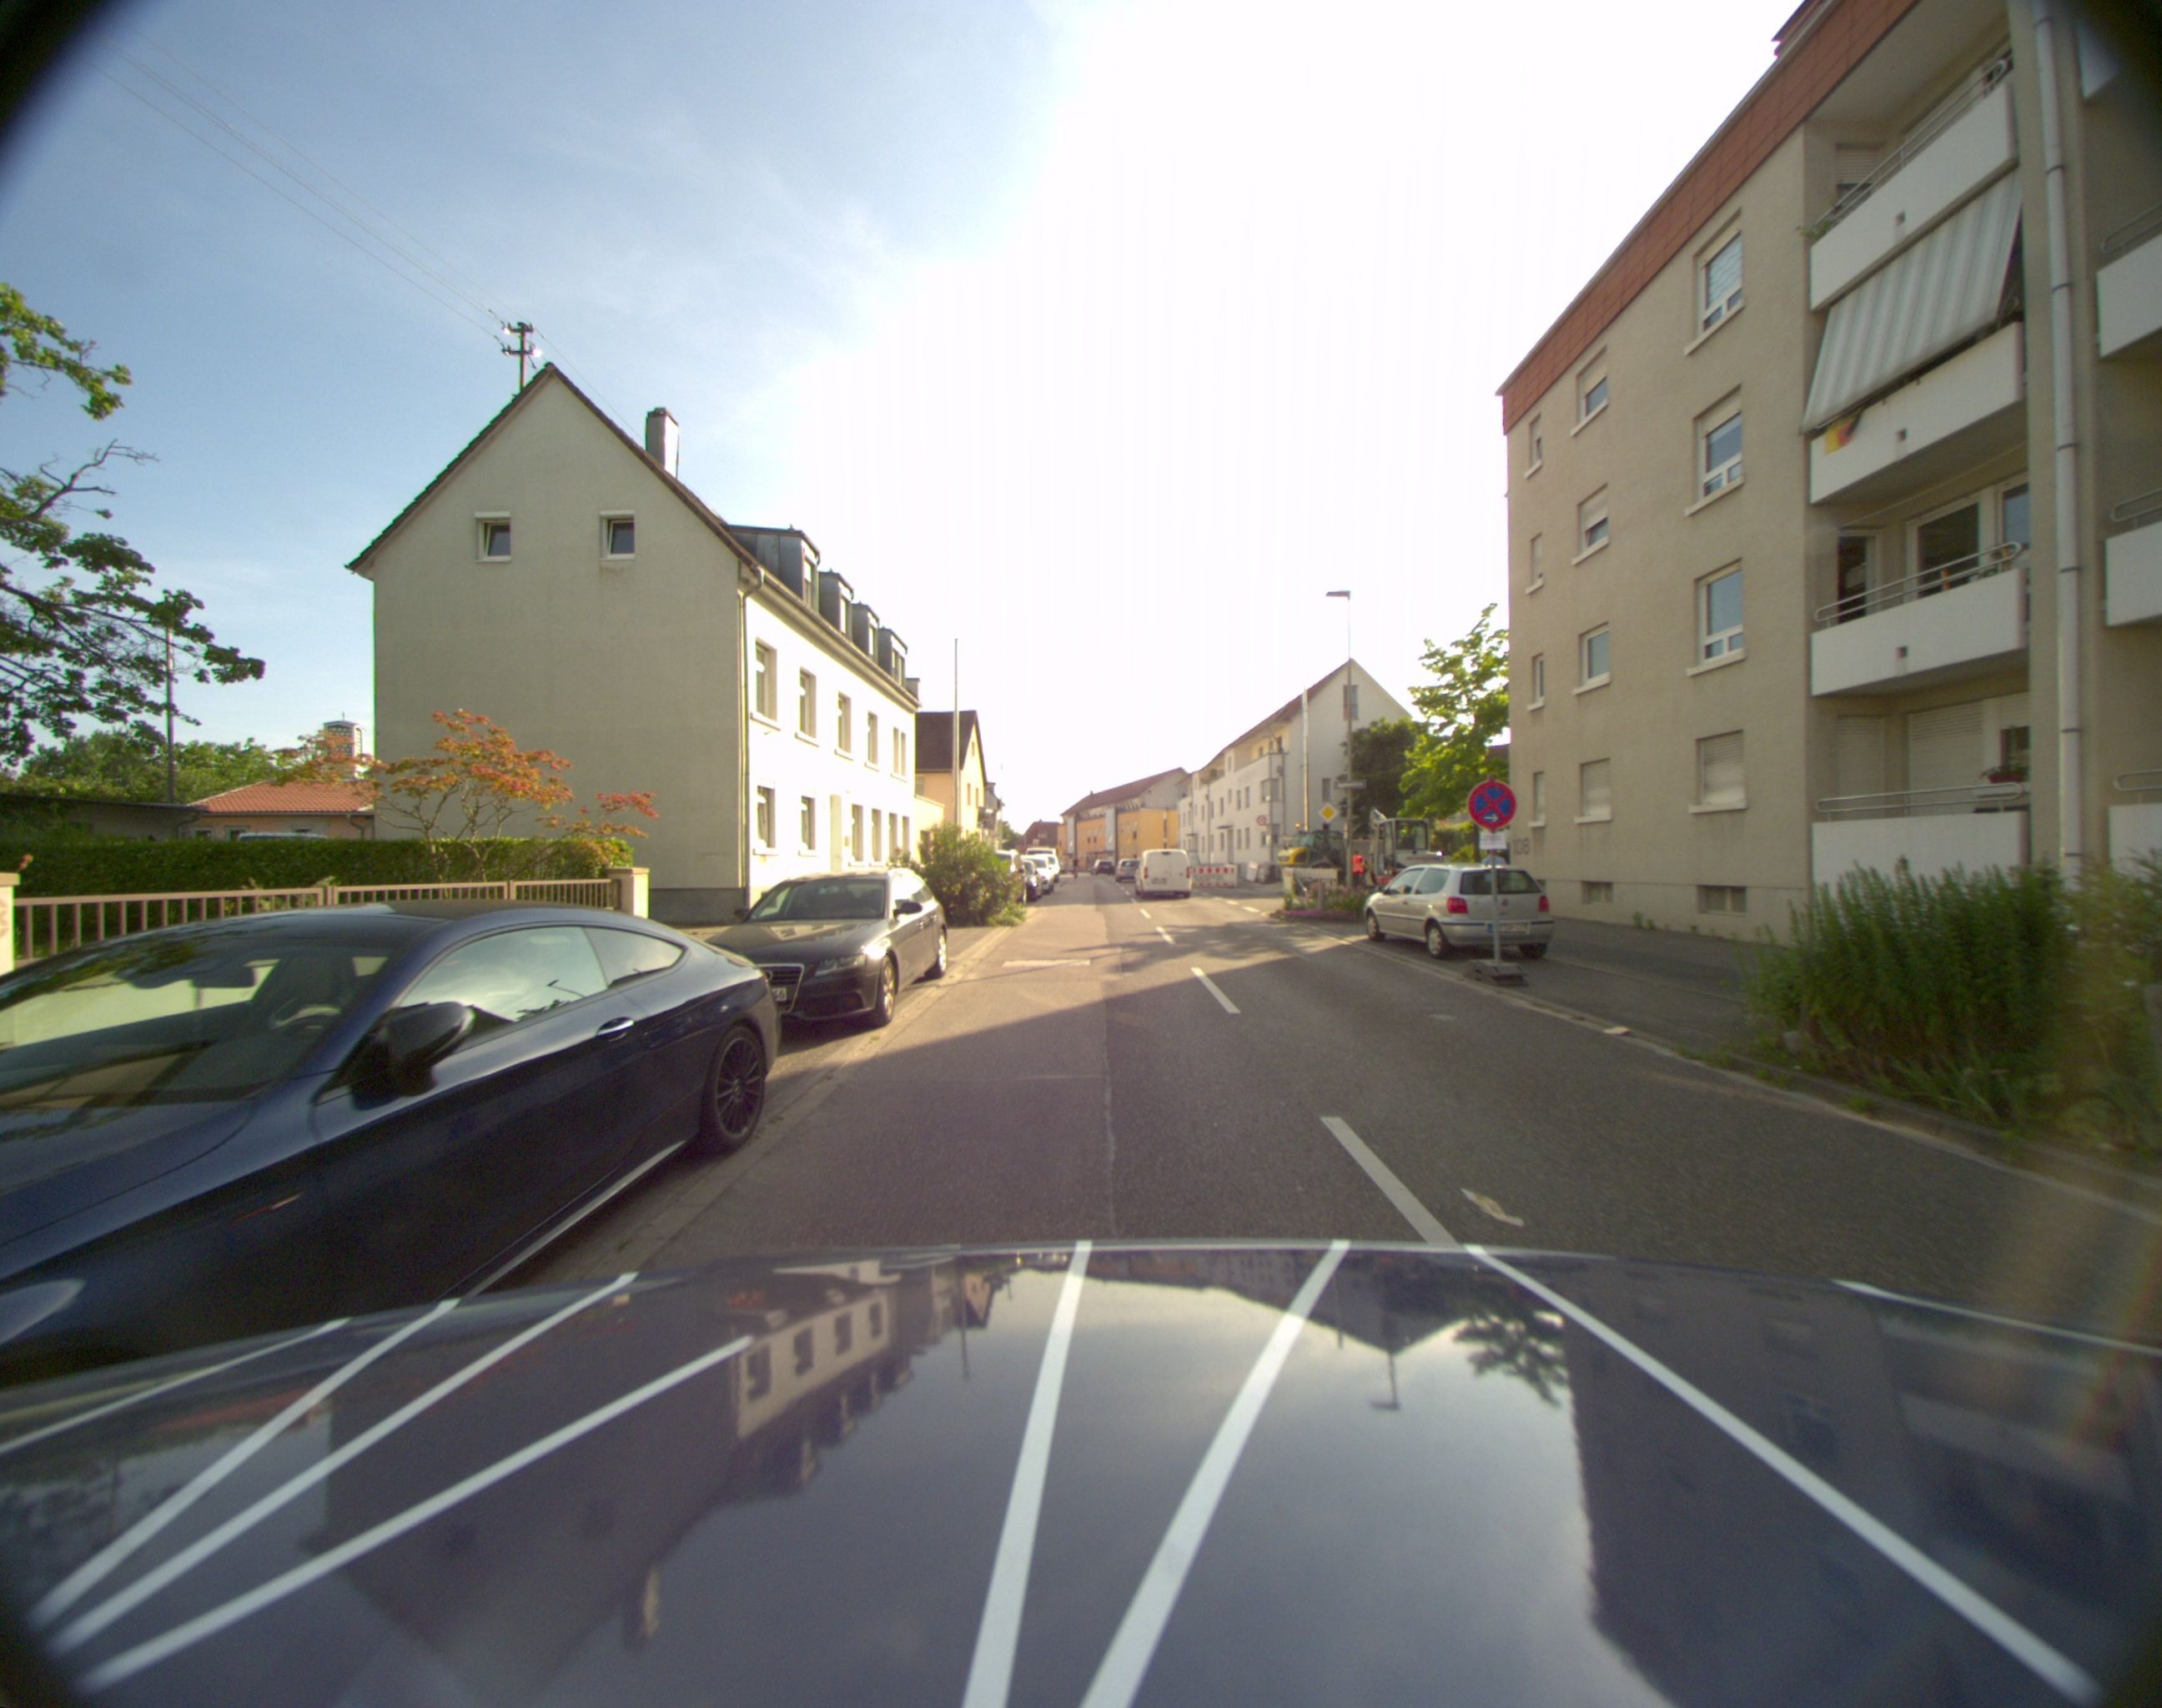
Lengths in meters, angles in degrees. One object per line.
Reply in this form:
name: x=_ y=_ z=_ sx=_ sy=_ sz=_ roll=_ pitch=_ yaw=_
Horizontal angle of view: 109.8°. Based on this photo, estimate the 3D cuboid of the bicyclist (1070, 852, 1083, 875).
bicyclist: x=-0.316 y=0.711 z=56.115 sx=0.846 sy=1.679 sz=0.877 roll=-1 pitch=0 yaw=-7

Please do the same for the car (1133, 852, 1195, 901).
car: x=3.145 y=0.810 z=29.453 sx=1.927 sy=1.756 sz=4.338 roll=1 pitch=0 yaw=0

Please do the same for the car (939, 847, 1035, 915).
car: x=-2.760 y=0.765 z=23.415 sx=2.080 sy=1.845 sz=4.612 roll=1 pitch=-1 yaw=4

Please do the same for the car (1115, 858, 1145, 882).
car: x=3.067 y=1.000 z=47.966 sx=1.622 sy=1.446 sz=3.685 roll=0 pitch=0 yaw=-1

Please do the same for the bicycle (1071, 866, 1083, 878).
bicycle: x=-0.272 y=1.313 z=55.959 sx=0.680 sy=0.849 sz=2.025 roll=-1 pitch=0 yaw=-6

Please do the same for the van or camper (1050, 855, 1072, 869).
van or camper: x=-2.917 y=1.149 z=109.410 sx=2.001 sy=1.991 sz=4.914 roll=-1 pitch=0 yaw=-17

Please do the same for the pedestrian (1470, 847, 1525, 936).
pedestrian: x=8.749 y=0.781 z=15.991 sx=0.720 sy=1.808 sz=0.745 roll=-1 pitch=0 yaw=2

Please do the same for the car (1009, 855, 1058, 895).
car: x=-2.041 y=0.876 z=34.017 sx=1.816 sy=1.674 sz=4.477 roll=1 pitch=0 yaw=1

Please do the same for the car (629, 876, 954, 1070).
car: x=-2.671 y=1.010 z=8.285 sx=1.784 sy=1.412 sz=4.496 roll=-1 pitch=0 yaw=0

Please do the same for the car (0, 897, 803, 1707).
car: x=-2.764 y=0.989 z=2.599 sx=1.834 sy=1.412 sz=4.609 roll=0 pitch=0 yaw=1

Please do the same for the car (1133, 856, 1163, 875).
car: x=5.790 y=0.966 z=65.984 sx=1.732 sy=1.612 sz=4.261 roll=0 pitch=0 yaw=-6

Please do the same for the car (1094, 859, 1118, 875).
car: x=2.279 y=1.181 z=70.302 sx=1.835 sy=1.412 sz=4.208 roll=0 pitch=0 yaw=-3

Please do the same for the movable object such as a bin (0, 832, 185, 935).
movable object such as a bin: x=-19.588 y=0.515 z=14.543 sx=2.567 sy=1.828 sz=1.976 roll=1 pitch=0 yaw=3

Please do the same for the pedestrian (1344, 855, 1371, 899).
pedestrian: x=10.591 y=0.882 z=29.172 sx=0.669 sy=1.654 sz=0.993 roll=-1 pitch=0 yaw=2

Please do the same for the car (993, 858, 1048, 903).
car: x=-2.214 y=0.932 z=28.714 sx=1.593 sy=1.519 sz=4.613 roll=1 pitch=0 yaw=1

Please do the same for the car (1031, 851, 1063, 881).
car: x=-2.056 y=0.724 z=47.036 sx=1.782 sy=1.731 sz=4.483 roll=2 pitch=0 yaw=0

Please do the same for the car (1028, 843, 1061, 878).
car: x=-2.500 y=0.451 z=53.333 sx=2.180 sy=2.313 sz=4.997 roll=1 pitch=0 yaw=-1

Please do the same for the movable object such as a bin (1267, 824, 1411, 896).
movable object such as a bin: x=11.177 y=0.241 z=33.058 sx=5.516 sy=2.883 sz=2.110 roll=-1 pitch=0 yaw=-11

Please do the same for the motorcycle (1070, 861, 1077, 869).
motorcycle: x=-1.154 y=1.693 z=115.887 sx=0.584 sy=1.175 sz=1.875 roll=-1 pitch=0 yaw=-19

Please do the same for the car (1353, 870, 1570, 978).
car: x=5.904 y=0.997 z=12.312 sx=1.644 sy=1.387 sz=3.671 roll=-1 pitch=0 yaw=0

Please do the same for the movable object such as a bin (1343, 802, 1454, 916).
movable object such as a bin: x=9.376 y=0.150 z=22.771 sx=1.652 sy=3.119 sz=3.900 roll=0 pitch=0 yaw=0
